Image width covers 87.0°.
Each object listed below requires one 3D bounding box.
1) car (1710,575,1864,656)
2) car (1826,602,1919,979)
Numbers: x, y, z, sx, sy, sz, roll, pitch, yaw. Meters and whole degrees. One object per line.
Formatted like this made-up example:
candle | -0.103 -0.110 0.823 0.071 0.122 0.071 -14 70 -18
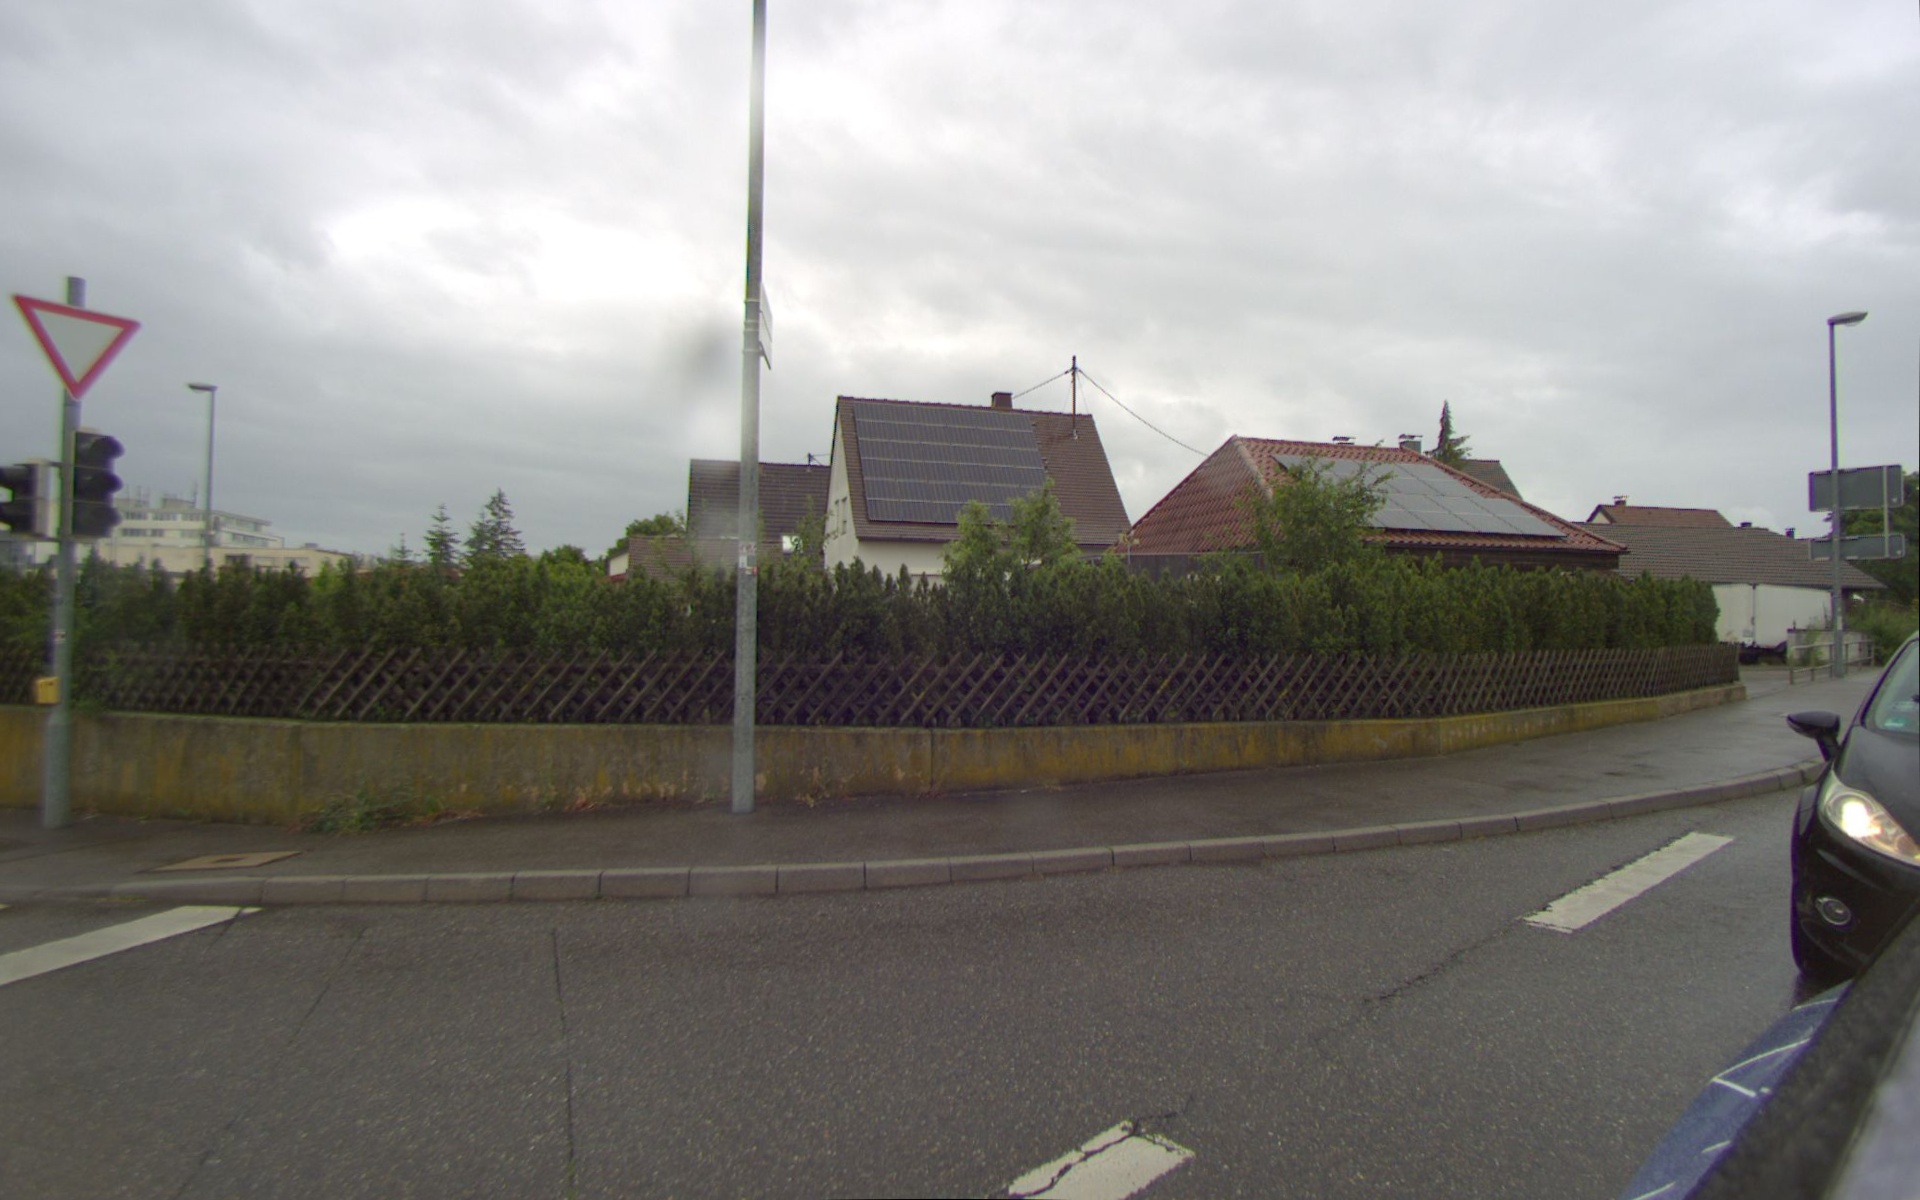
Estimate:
car | 25.468 0.457 31.192 3.916 2.380 1.657 0 -1 -14
car | 5.548 0.753 4.889 3.867 1.436 1.663 -1 0 -43
